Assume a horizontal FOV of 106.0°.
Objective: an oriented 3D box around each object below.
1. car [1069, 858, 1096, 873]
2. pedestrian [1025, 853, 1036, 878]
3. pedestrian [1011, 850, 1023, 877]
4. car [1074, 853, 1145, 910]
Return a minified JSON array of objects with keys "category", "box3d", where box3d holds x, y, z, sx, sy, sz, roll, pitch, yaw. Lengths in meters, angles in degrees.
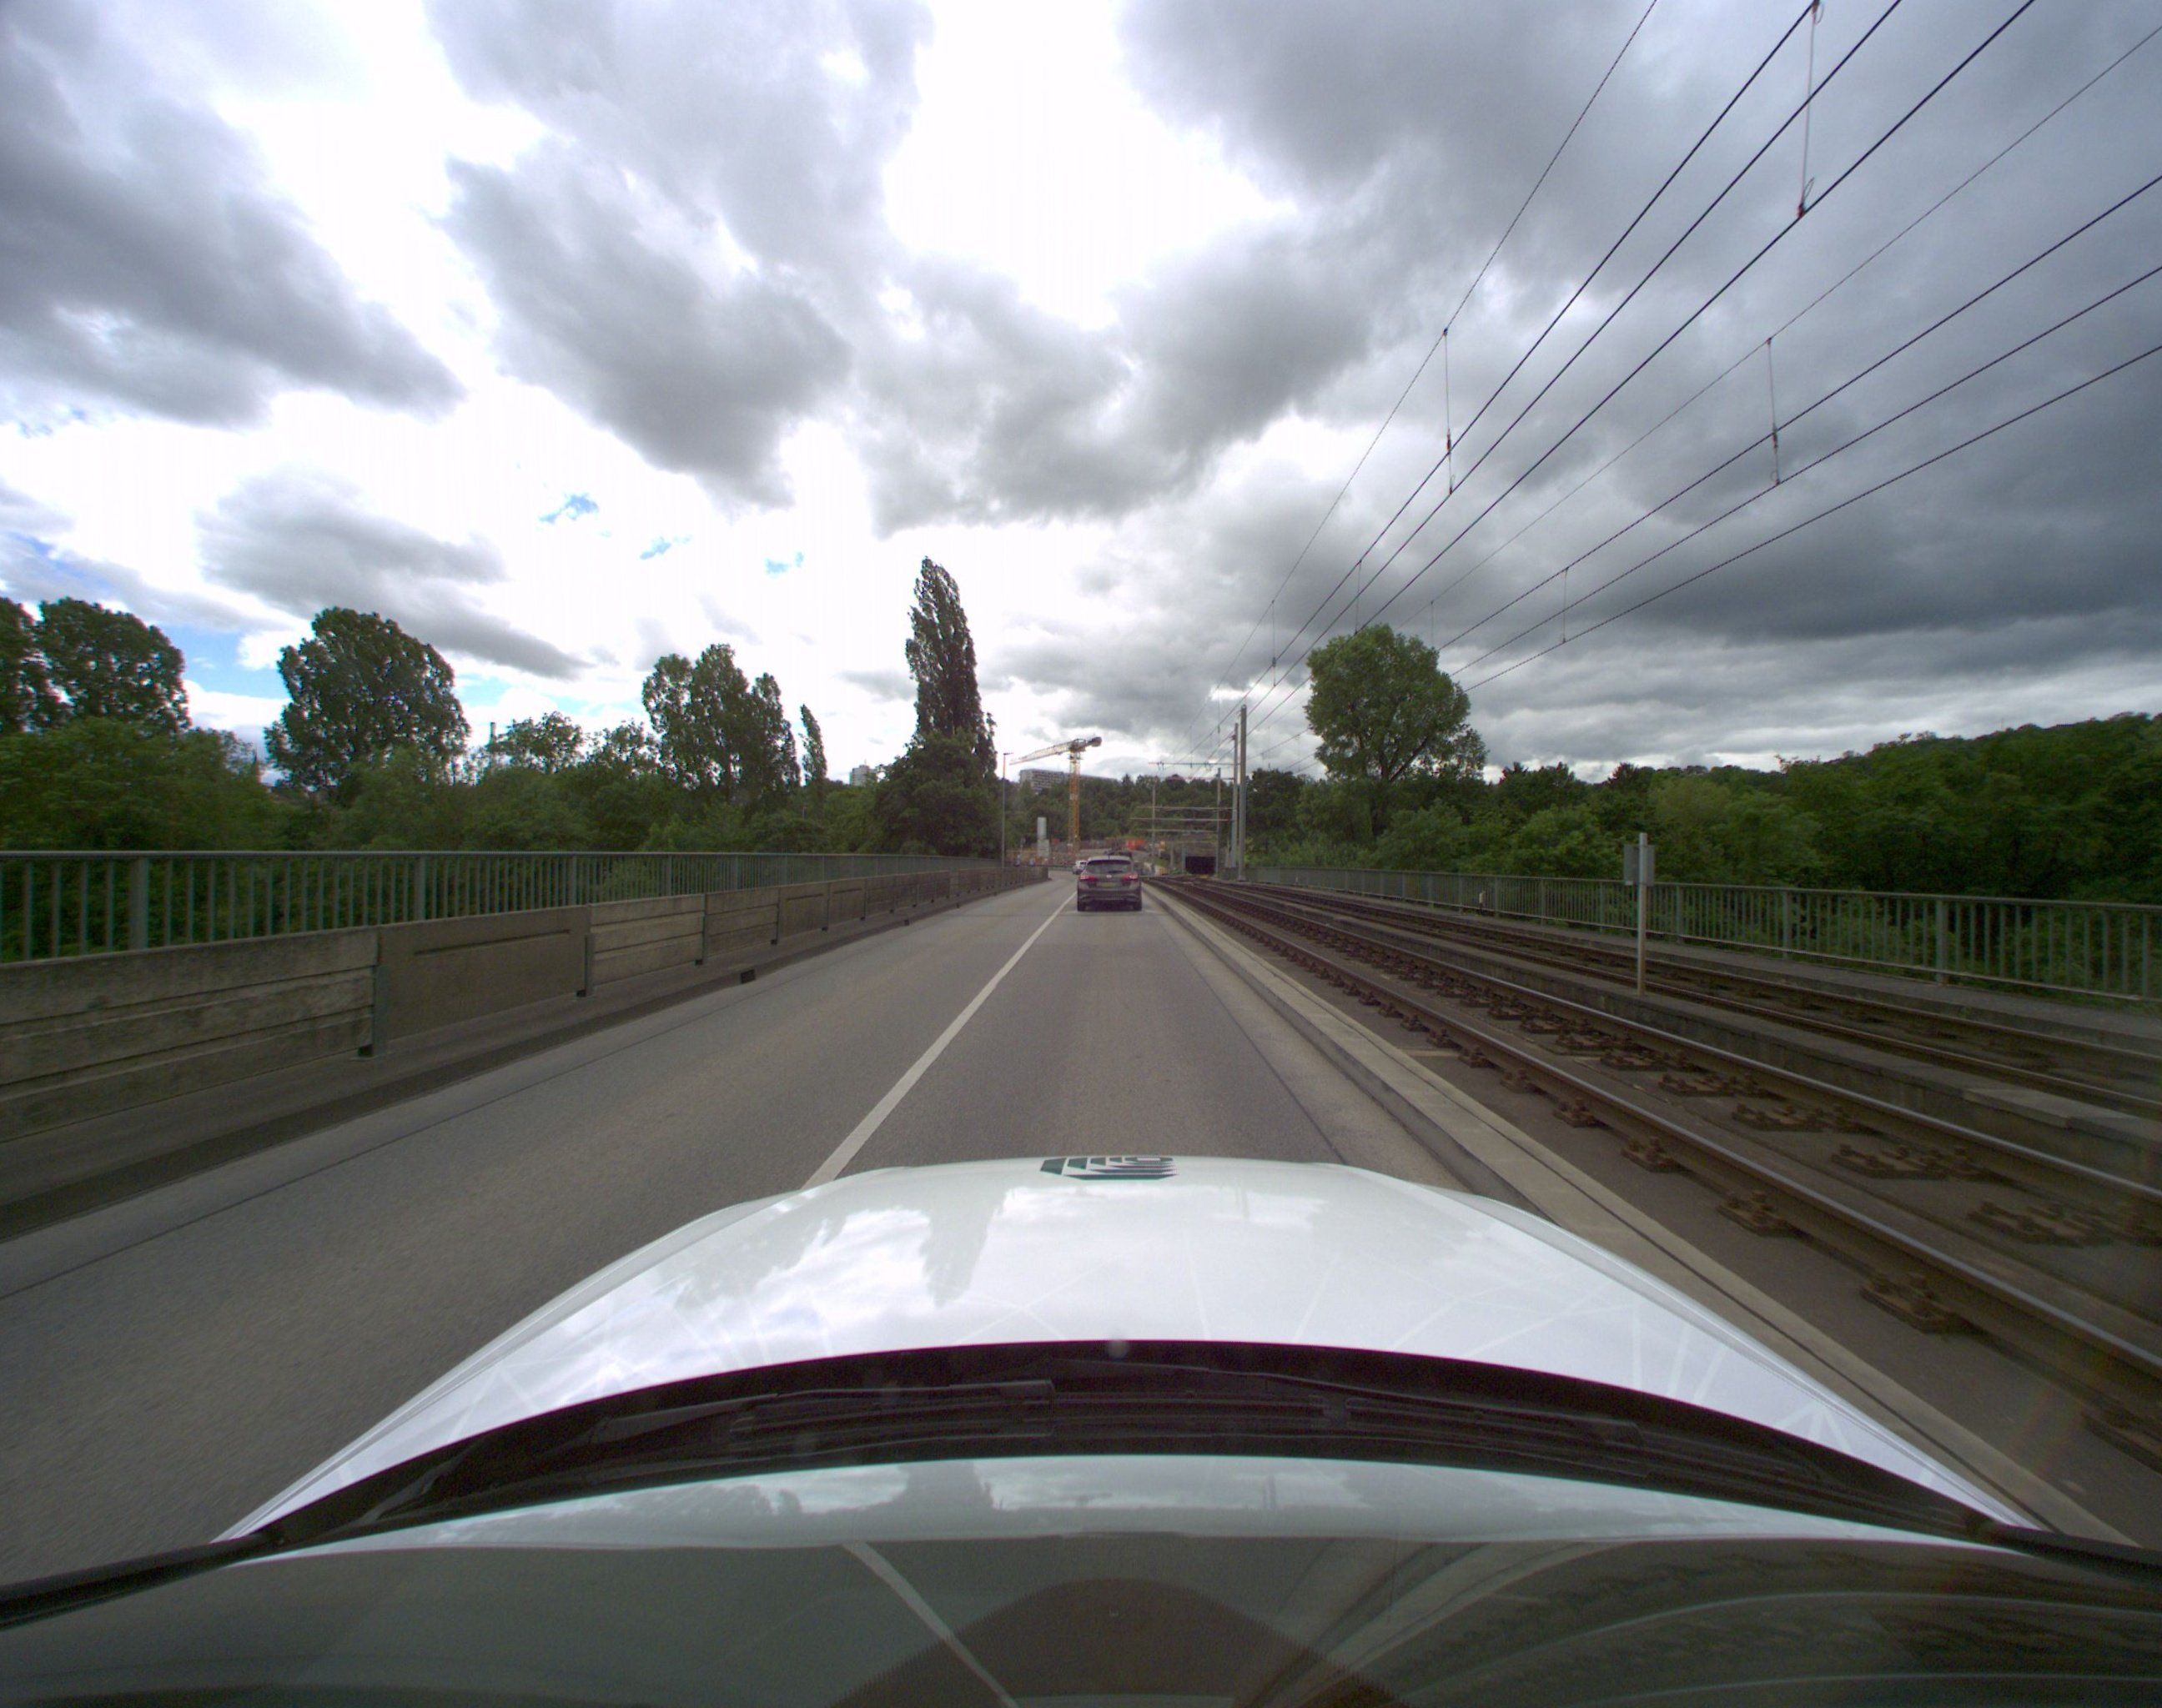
[{"category":"car","box3d":[0.120,1.212,89.462,1.684,1.606,4.283,0,0,-18]},{"category":"pedestrian","box3d":[-3.474,0.756,56.057,0.718,1.701,0.723,1,0,1]},{"category":"pedestrian","box3d":[-4.490,0.657,57.140,0.718,1.839,0.723,1,0,1]},{"category":"car","box3d":[0.739,0.733,23.496,1.825,1.510,3.997,0,0,-2]}]
